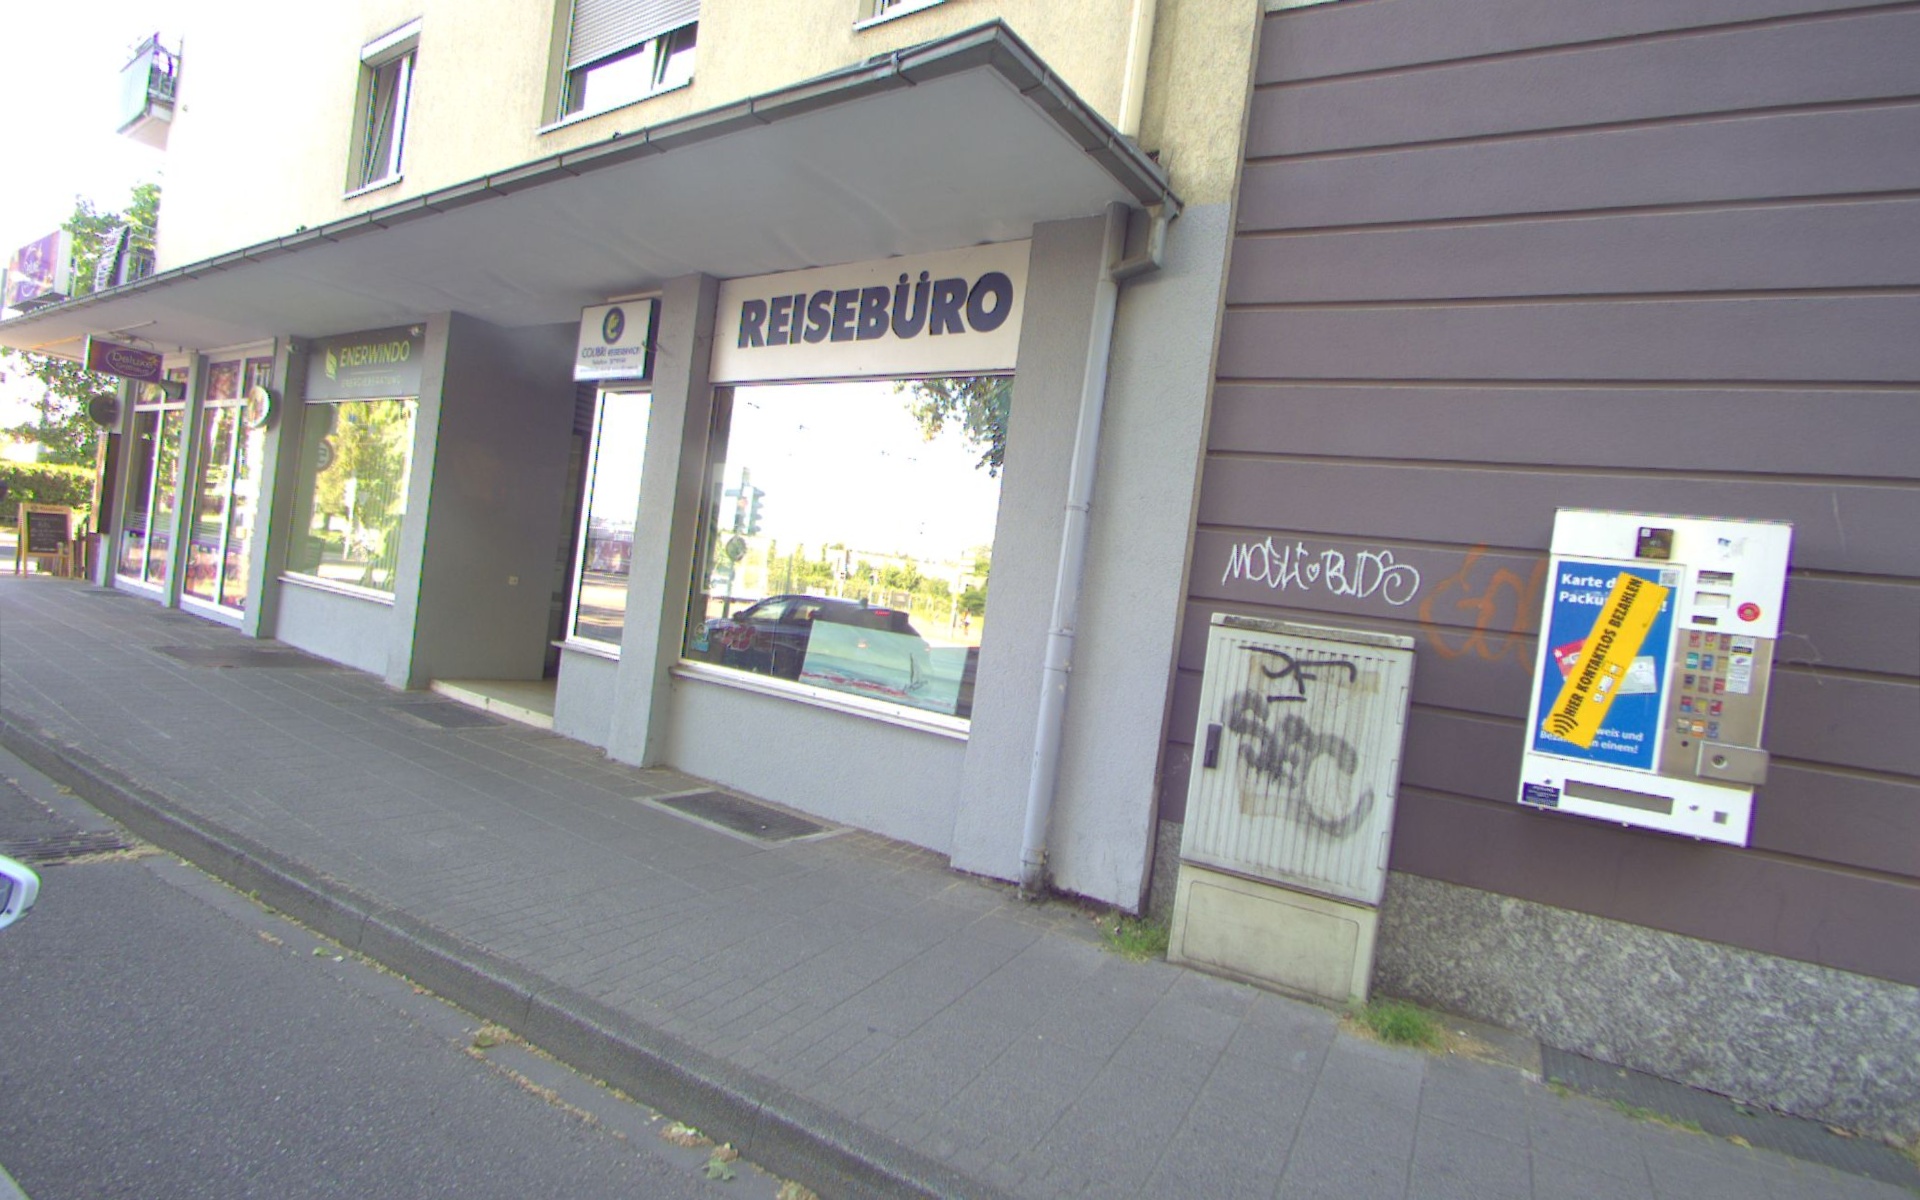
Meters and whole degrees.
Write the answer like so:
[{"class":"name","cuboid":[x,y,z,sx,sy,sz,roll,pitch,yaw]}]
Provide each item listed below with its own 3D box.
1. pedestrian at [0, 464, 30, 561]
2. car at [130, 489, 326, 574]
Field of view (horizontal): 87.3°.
[{"class":"pedestrian","cuboid":[-18.899,-1.738,19.662,0.695,1.869,0.698,7,1,-19]},{"class":"car","cuboid":[-21.056,-1.905,29.084,1.781,1.835,4.172,4,-3,40]}]
